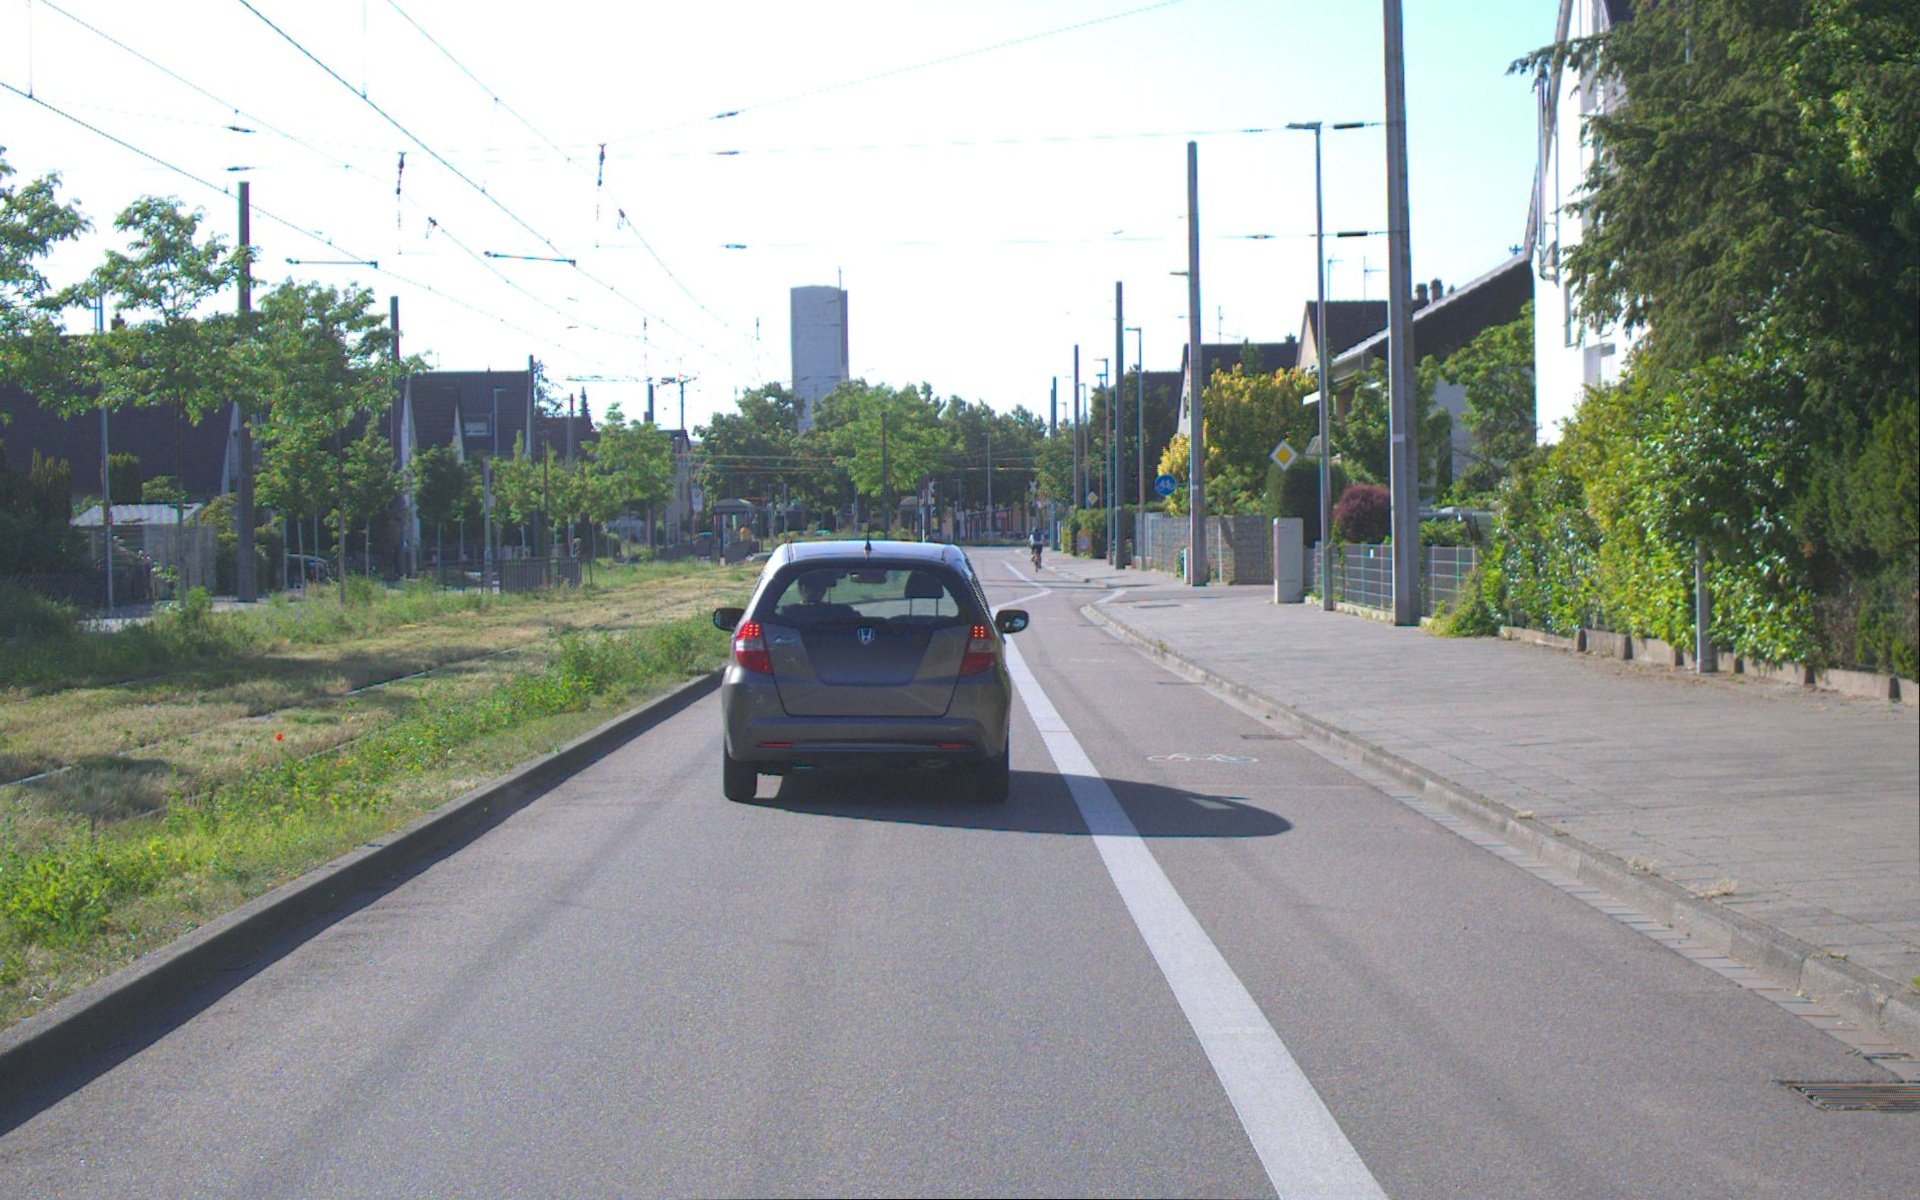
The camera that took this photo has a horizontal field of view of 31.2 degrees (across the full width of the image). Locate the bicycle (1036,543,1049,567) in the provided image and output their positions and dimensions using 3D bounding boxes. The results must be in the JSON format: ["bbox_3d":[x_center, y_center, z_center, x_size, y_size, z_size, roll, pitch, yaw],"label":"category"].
[{"bbox_3d":[3.326,-1.829,139.212,0.475,0.958,1.657,1,1,0],"label":"bicycle"}]

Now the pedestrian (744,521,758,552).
[{"bbox_3d":[-10.497,-3.187,172.640,0.675,1.530,0.749,-1,1,-4],"label":"pedestrian"}]

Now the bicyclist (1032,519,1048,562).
[{"bbox_3d":[3.241,-2.397,138.945,0.598,1.695,0.683,1,0,0],"label":"bicyclist"}]

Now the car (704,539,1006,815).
[{"bbox_3d":[-0.635,0.414,21.041,1.670,1.530,3.487,1,1,-2],"label":"car"}]

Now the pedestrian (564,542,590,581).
[{"bbox_3d":[-16.414,-1.664,147.455,0.965,1.635,1.086,-1,1,0],"label":"pedestrian"}]
